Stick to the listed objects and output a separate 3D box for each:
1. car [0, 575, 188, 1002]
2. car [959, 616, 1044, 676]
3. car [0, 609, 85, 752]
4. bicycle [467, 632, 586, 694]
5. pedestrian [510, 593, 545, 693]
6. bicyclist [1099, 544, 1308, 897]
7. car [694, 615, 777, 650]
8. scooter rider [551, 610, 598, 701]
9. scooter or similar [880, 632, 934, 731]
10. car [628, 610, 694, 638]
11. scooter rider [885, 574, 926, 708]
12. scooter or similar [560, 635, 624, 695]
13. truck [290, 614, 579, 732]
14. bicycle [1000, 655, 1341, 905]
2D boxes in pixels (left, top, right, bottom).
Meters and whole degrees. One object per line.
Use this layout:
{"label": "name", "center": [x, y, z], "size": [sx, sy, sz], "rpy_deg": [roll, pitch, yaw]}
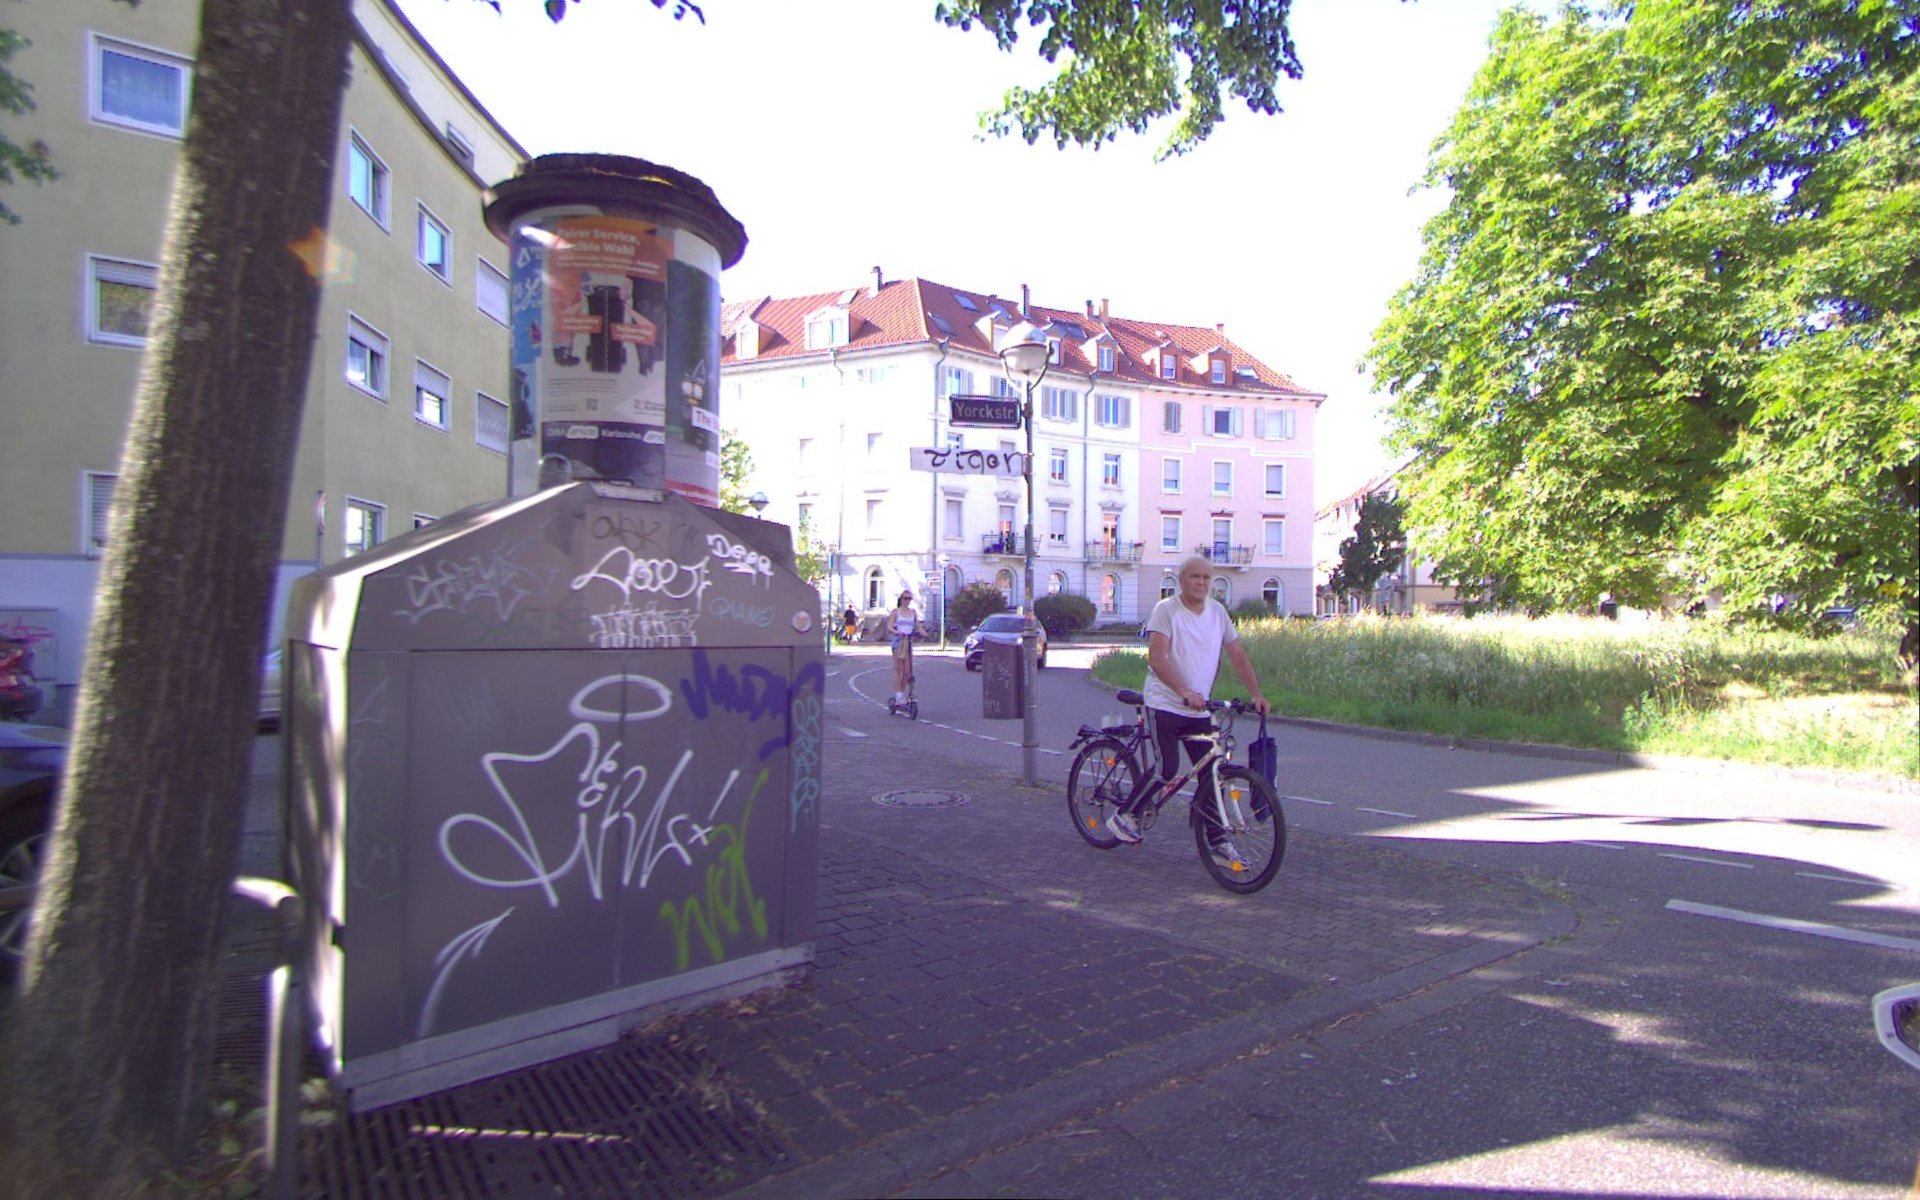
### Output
{"label": "car", "center": [-4.335, 0.620, 2.257], "size": [1.740, 1.501, 4.144], "rpy_deg": [2, 0, 5]}
{"label": "car", "center": [1.324, 1.312, 29.831], "size": [1.959, 1.628, 4.129], "rpy_deg": [0, -1, 10]}
{"label": "car", "center": [-12.036, 0.853, 10.572], "size": [4.128, 1.547, 1.518], "rpy_deg": [1, -1, -37]}
{"label": "bicycle", "center": [-8.061, 1.146, 18.789], "size": [0.481, 1.087, 2.136], "rpy_deg": [0, -1, 33]}
{"label": "pedestrian", "center": [-7.325, 0.721, 17.039], "size": [0.410, 1.664, 0.533], "rpy_deg": [0, -1, -9]}
{"label": "bicyclist", "center": [1.391, 0.625, 5.742], "size": [0.876, 1.808, 0.794], "rpy_deg": [0, -1, 45]}
{"label": "car", "center": [-10.004, 1.423, 44.745], "size": [3.337, 1.485, 1.488], "rpy_deg": [0, -1, 21]}
{"label": "scooter rider", "center": [-6.686, 0.953, 17.435], "size": [0.595, 1.549, 0.525], "rpy_deg": [0, -1, 2]}
{"label": "scooter or similar", "center": [-0.813, 1.163, 14.939], "size": [0.554, 1.328, 2.120], "rpy_deg": [0, -1, -10]}
{"label": "car", "center": [-13.794, 1.102, 46.387], "size": [2.788, 1.261, 1.216], "rpy_deg": [0, -1, 23]}
{"label": "scooter rider", "center": [-0.829, 0.607, 15.107], "size": [0.547, 1.959, 0.617], "rpy_deg": [0, -1, -9]}
{"label": "scooter or similar", "center": [-6.636, 1.162, 18.162], "size": [0.876, 1.050, 0.711], "rpy_deg": [0, -1, 1]}
{"label": "truck", "center": [-7.300, 0.941, 14.067], "size": [3.383, 1.455, 1.519], "rpy_deg": [1, -1, -38]}
{"label": "bicycle", "center": [1.167, 0.948, 5.934], "size": [0.661, 1.159, 1.939], "rpy_deg": [1, -1, -44]}
